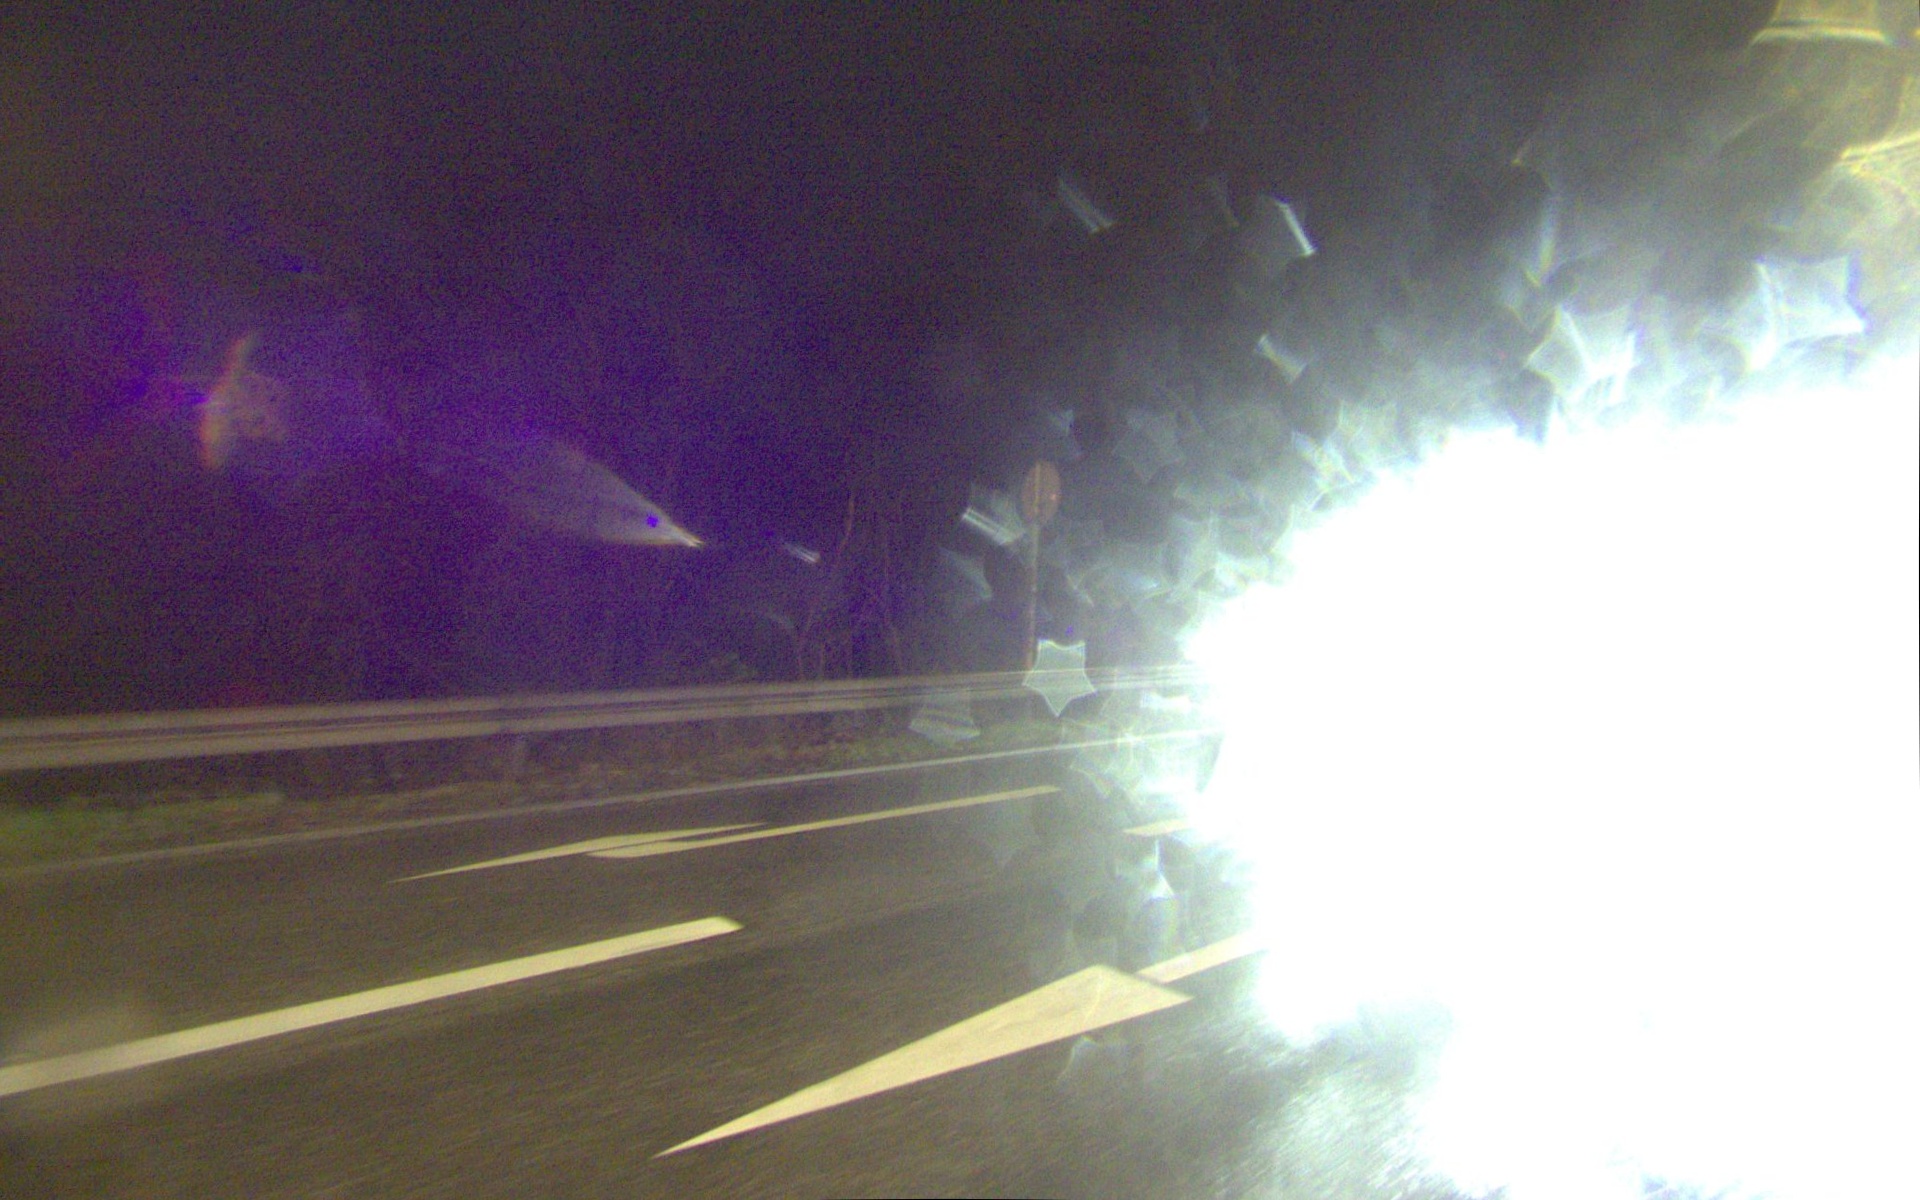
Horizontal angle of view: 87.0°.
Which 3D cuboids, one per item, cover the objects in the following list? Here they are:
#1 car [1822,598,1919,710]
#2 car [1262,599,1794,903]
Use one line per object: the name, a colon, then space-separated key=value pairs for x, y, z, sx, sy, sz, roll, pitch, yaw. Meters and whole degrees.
car: x=14.548 y=0.718 z=15.035 sx=4.485 sy=1.503 sz=1.826 roll=0 pitch=-1 yaw=-39
car: x=4.201 y=0.748 z=7.102 sx=4.641 sy=1.467 sz=1.734 roll=0 pitch=-1 yaw=-40
